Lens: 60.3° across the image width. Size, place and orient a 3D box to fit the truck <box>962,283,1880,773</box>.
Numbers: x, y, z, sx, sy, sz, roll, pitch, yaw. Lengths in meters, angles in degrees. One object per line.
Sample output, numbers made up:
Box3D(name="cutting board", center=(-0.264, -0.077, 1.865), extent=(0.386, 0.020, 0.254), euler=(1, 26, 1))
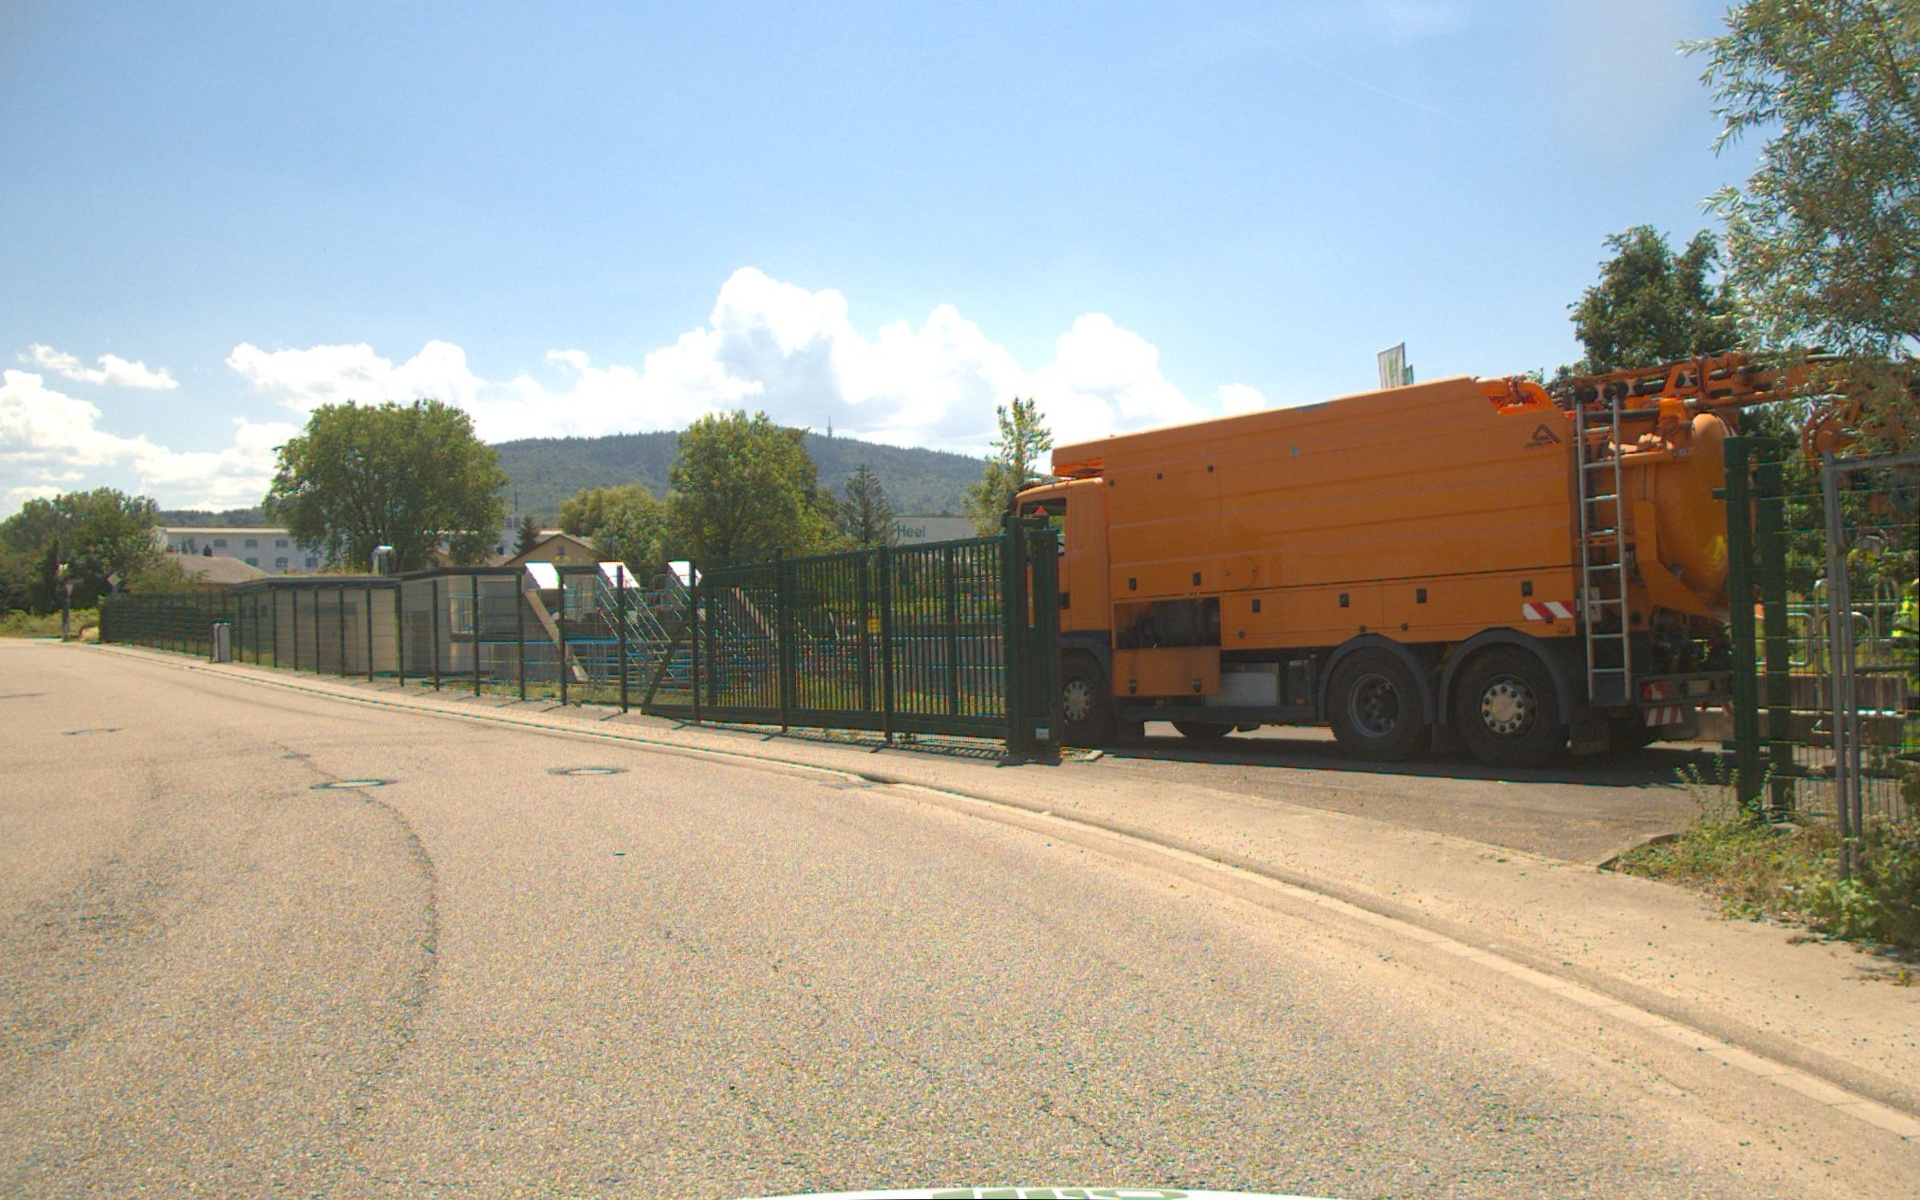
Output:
Box3D(name="truck", center=(4.408, -0.479, 17.628), extent=(4.129, 3.872, 8.480), euler=(-2, -1, -41))
